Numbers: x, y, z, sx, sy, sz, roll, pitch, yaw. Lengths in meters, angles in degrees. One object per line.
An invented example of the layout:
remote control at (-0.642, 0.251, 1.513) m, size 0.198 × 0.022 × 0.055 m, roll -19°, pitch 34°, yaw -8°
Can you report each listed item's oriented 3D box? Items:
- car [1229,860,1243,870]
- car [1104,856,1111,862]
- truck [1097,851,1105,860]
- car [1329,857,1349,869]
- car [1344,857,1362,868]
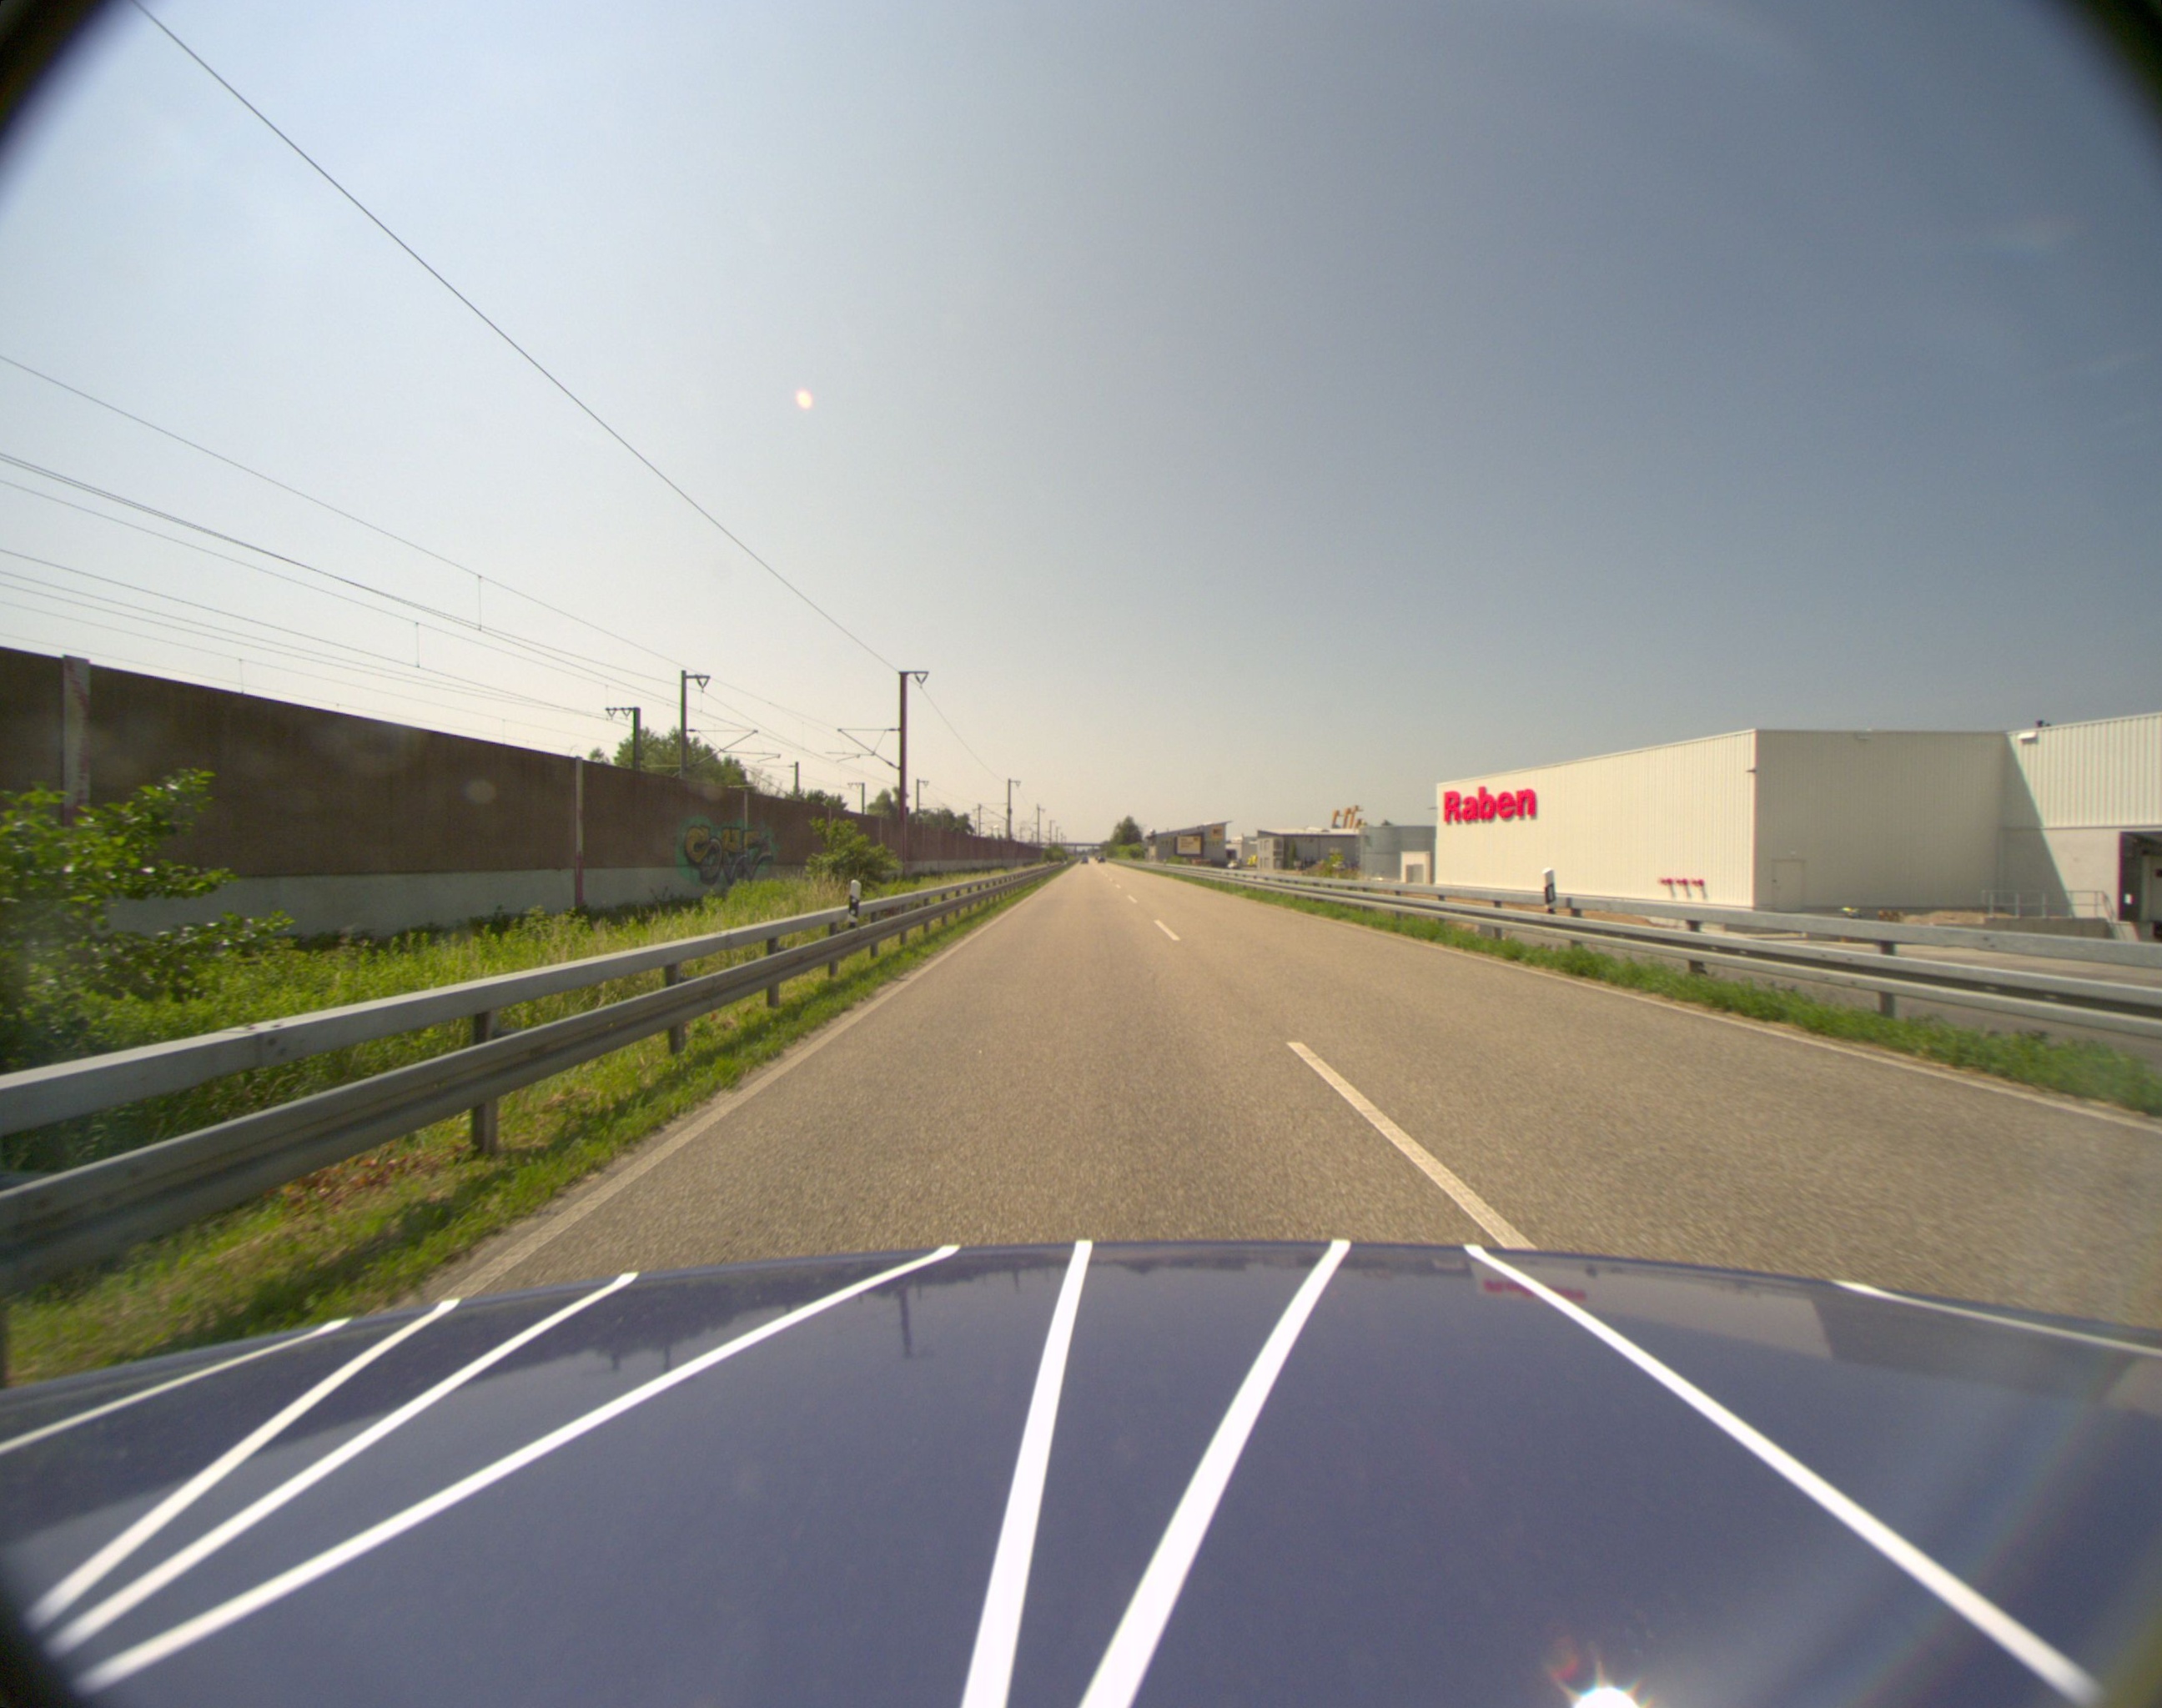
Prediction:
car at (27.219, 1.966, 133.587) m, size 1.555 × 1.664 × 3.311 m, roll 1°, pitch 0°, yaw -5°
car at (6.351, 1.210, 182.550) m, size 1.544 × 1.426 × 3.654 m, roll -1°, pitch 0°, yaw 0°
truck at (6.767, 0.570, 260.702) m, size 2.242 × 2.950 × 6.317 m, roll -2°, pitch 1°, yaw -1°
car at (45.547, 1.493, 134.226) m, size 1.999 × 2.002 × 3.999 m, roll -1°, pitch 0°, yaw -1°
car at (47.985, 1.541, 134.294) m, size 1.834 × 1.889 × 3.689 m, roll 2°, pitch 0°, yaw 1°
